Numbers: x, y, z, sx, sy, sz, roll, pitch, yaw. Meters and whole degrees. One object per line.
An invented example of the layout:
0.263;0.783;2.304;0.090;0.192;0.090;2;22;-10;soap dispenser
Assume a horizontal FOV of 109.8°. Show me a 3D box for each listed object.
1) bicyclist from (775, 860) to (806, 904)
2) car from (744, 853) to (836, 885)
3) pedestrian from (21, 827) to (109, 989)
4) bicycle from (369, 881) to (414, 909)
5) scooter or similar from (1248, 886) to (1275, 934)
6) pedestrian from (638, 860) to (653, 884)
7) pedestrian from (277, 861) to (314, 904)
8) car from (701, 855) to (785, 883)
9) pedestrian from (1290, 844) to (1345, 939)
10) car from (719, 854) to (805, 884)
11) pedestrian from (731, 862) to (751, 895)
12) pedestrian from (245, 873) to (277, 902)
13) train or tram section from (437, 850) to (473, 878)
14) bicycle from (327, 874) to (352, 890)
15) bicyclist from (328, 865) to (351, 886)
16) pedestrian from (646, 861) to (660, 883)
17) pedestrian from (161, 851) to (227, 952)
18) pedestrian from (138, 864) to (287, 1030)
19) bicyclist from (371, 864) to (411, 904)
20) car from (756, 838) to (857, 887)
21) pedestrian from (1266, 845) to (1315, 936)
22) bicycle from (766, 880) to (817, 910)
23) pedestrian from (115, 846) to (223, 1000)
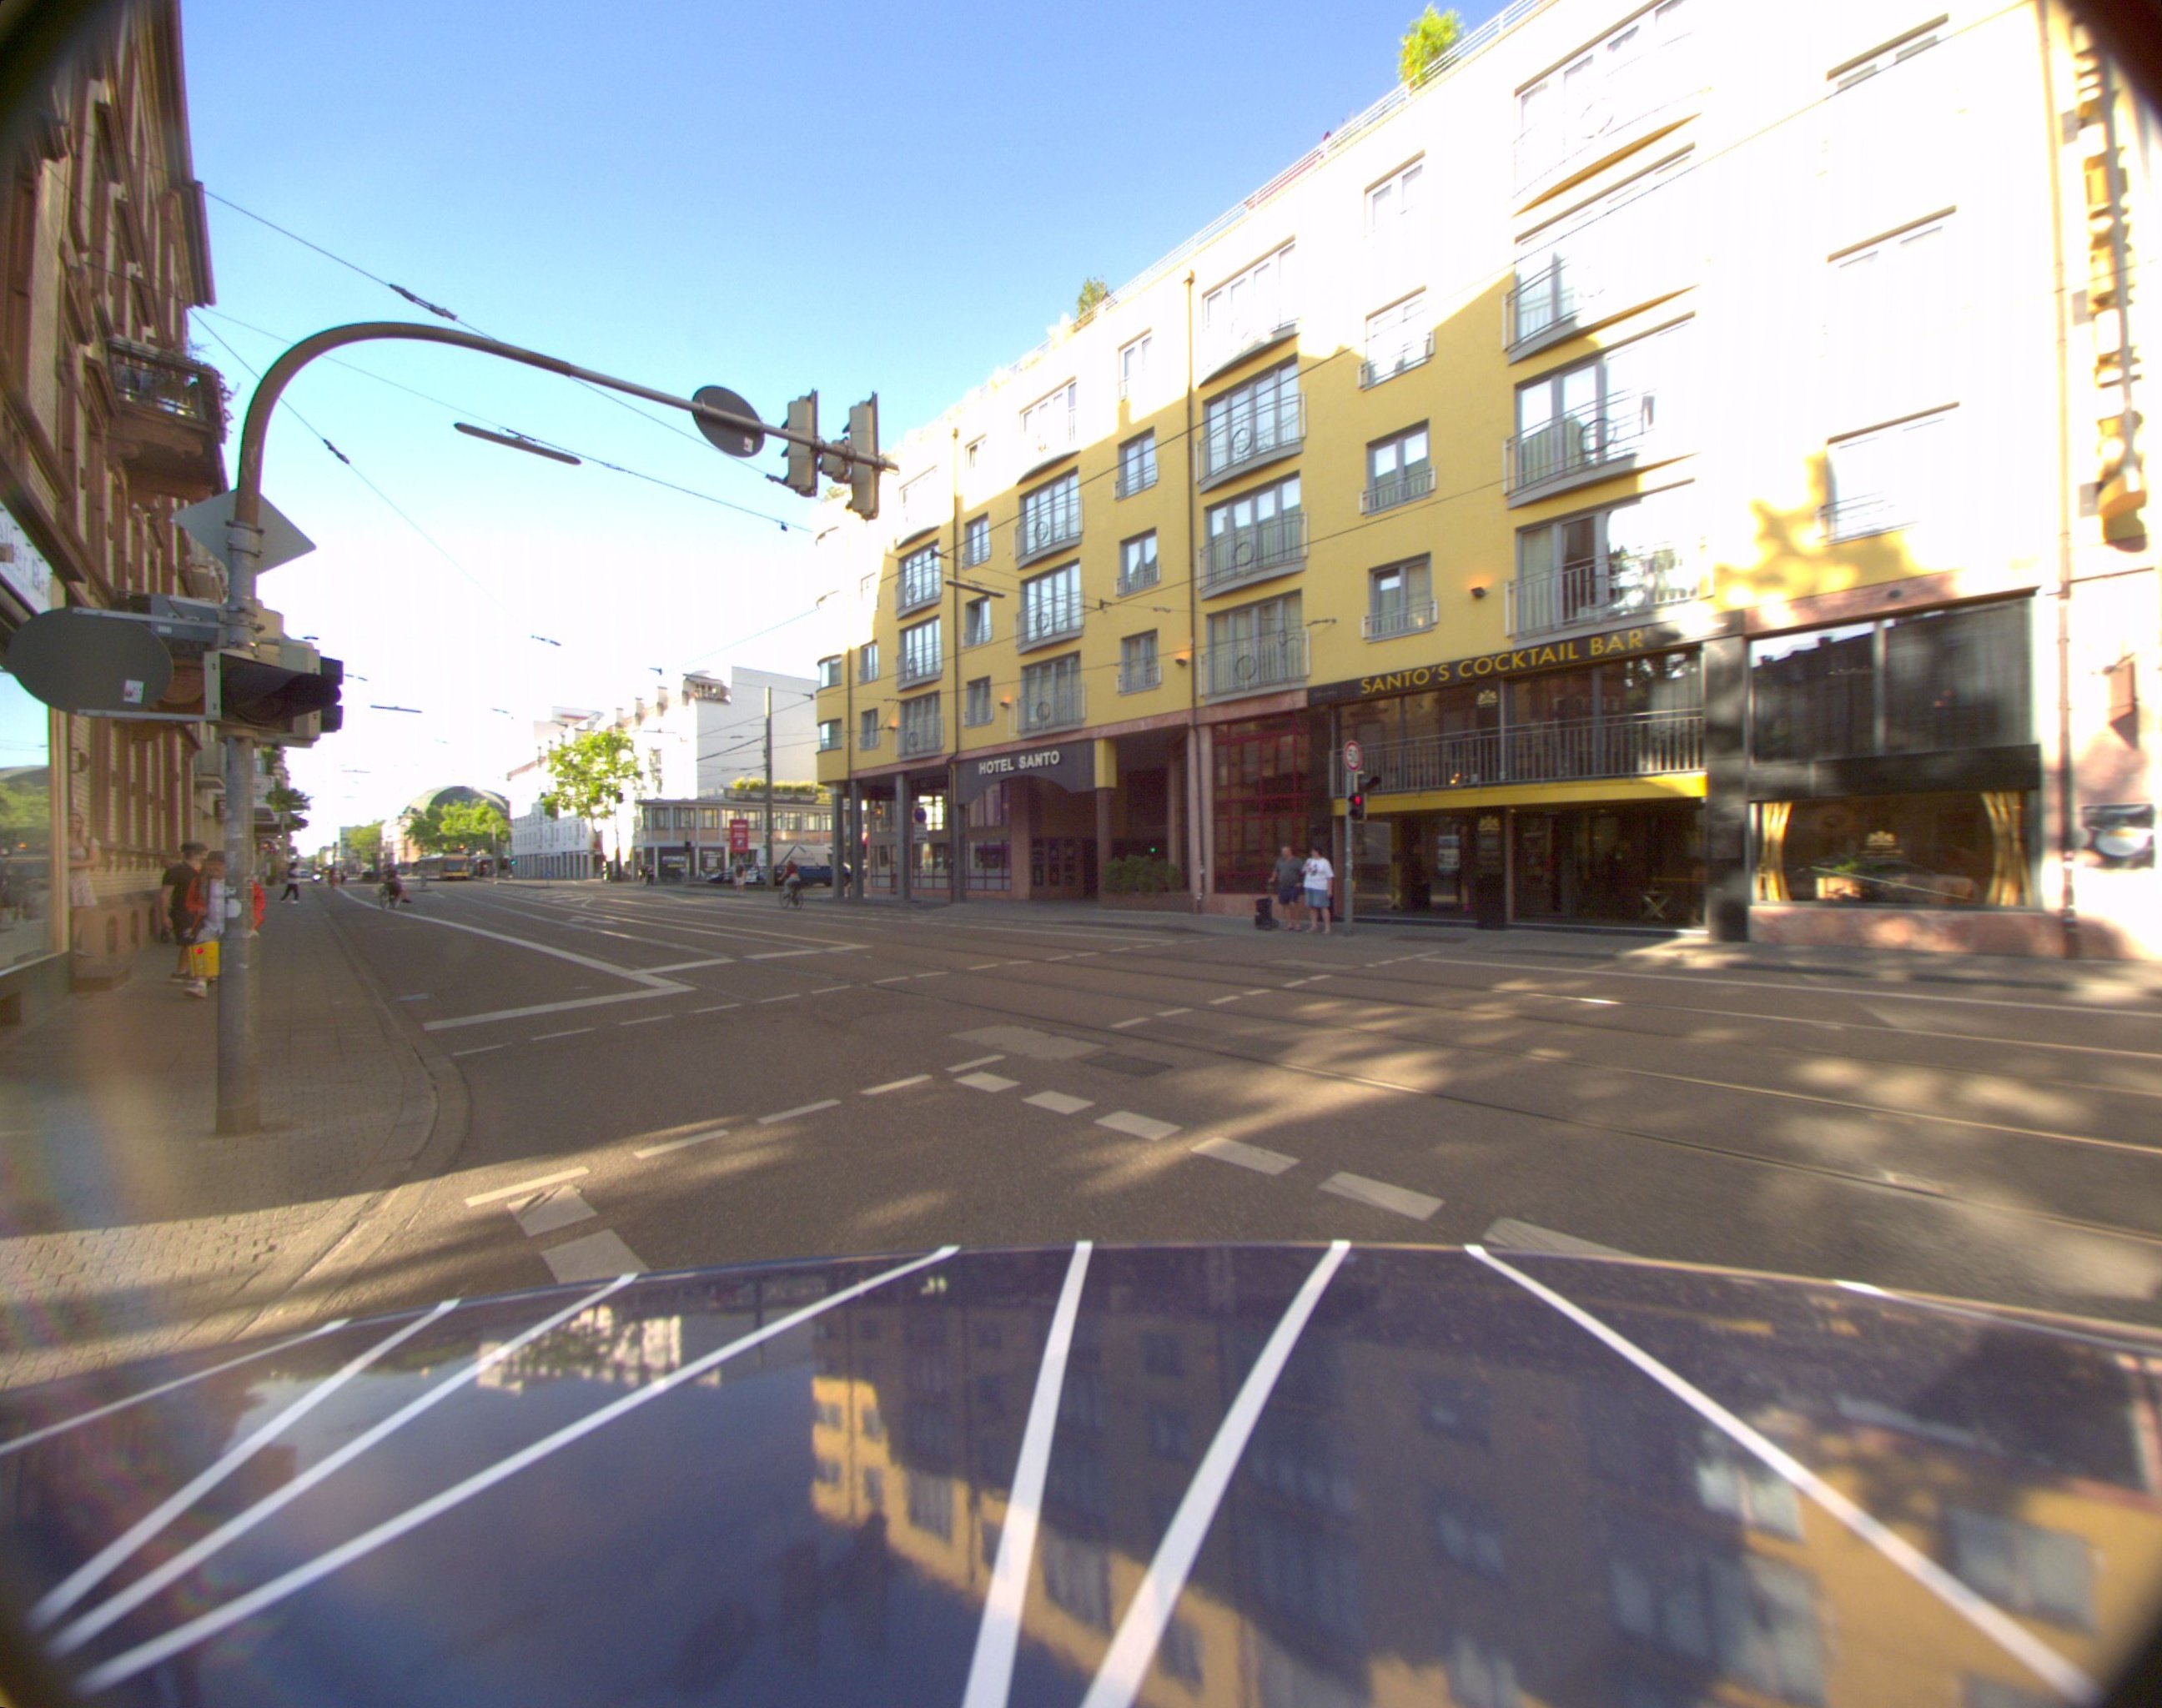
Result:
-10.105;0.958;26.454;0.754;1.511;0.680;0;0;36;bicyclist
-17.735;0.884;46.468;4.829;1.826;2.053;-1;0;-44;car
-11.516;0.588;8.629;0.569;1.764;0.551;0;0;39;pedestrian
-26.939;1.574;29.664;3.053;0.997;1.077;-1;0;43;bicycle
3.876;1.200;16.329;0.356;0.972;0.423;0;4;43;scooter or similar
-31.486;1.269;54.925;0.896;1.719;0.618;0;0;41;pedestrian
-34.349;1.239;33.228;0.723;1.827;0.902;-1;0;19;pedestrian
-23.164;1.009;52.144;4.829;1.826;2.053;-1;0;-44;car
4.814;0.743;15.459;0.733;1.830;0.728;0;4;45;pedestrian
-21.013;0.956;50.219;4.829;1.826;2.053;-1;0;-44;car
-17.519;1.239;39.139;0.688;1.685;0.727;0;0;43;pedestrian
-34.639;1.422;32.100;0.722;1.169;0.902;0;0;41;pedestrian
-75.217;1.187;91.204;10.013;3.120;2.285;-1;0;45;train or tram section
-50.430;1.890;51.648;3.053;0.997;1.077;-1;0;43;bicycle
-50.437;1.462;51.659;0.836;1.400;1.077;0;0;43;bicyclist
-31.688;1.333;56.192;0.896;1.596;0.618;0;0;41;pedestrian
-16.681;0.869;14.312;0.898;1.827;0.726;0;1;45;pedestrian
-9.589;0.954;8.455;1.170;1.670;1.010;0;0;44;pedestrian
-26.950;1.150;29.664;0.838;1.529;1.077;0;0;43;bicyclist
-16.046;0.463;44.619;5.159;2.742;2.053;-1;0;-44;car
4.454;0.753;16.145;0.677;1.830;0.728;0;4;45;pedestrian
-10.088;1.406;26.450;1.957;0.998;0.680;-1;0;36;bicycle
-10.992;0.796;9.190;0.753;1.764;0.600;-1;0;-44;pedestrian
